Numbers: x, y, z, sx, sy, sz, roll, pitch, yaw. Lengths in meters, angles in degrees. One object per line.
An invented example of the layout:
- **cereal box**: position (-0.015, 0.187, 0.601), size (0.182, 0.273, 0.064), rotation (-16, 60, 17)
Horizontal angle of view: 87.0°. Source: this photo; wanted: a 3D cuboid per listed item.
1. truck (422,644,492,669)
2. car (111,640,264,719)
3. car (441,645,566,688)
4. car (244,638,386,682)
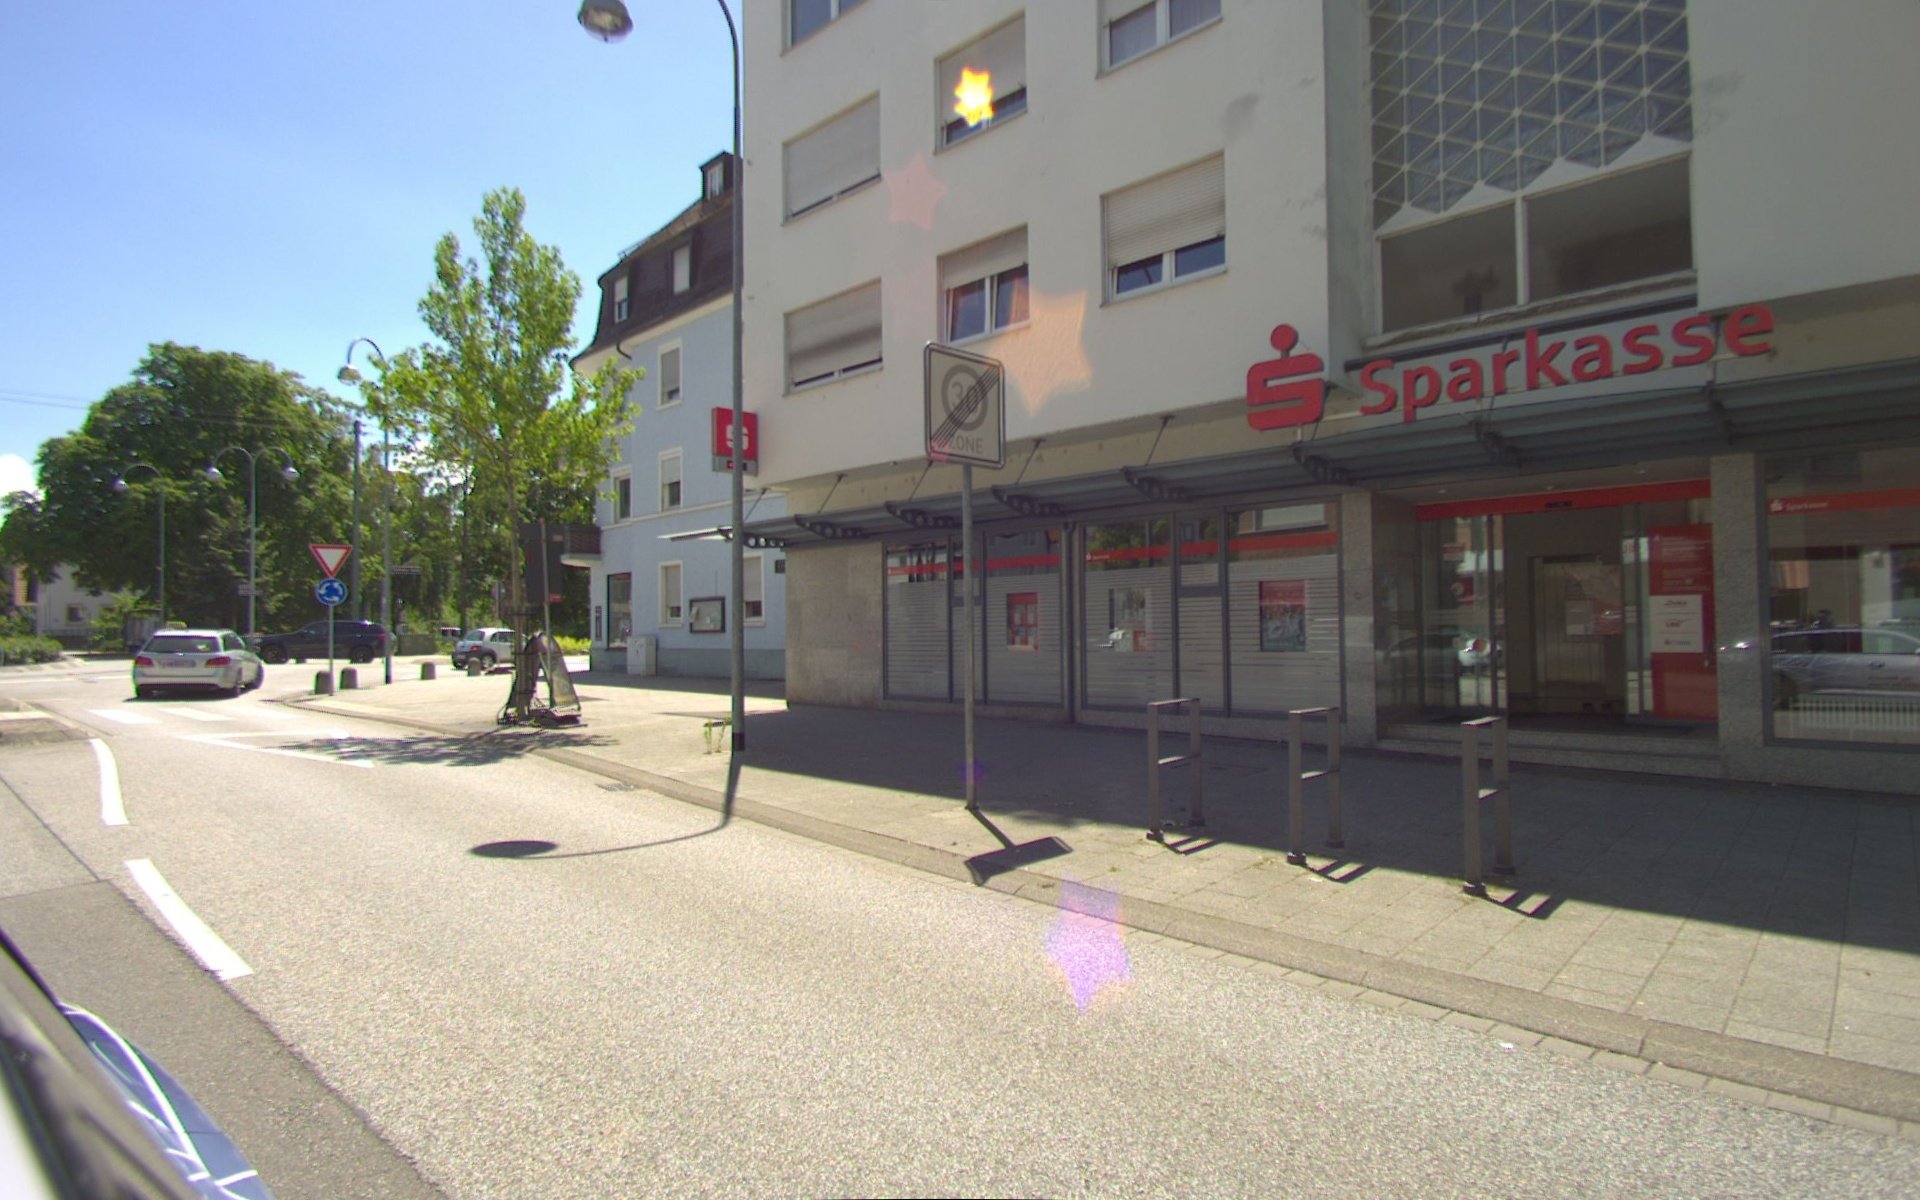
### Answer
- **truck**: position (-51.808, 5.829, 104.371), size (6.113, 2.462, 2.271), rotation (0, -4, -15)
- **car**: position (-17.524, 1.752, 23.228), size (1.965, 1.605, 5.014), rotation (3, -4, -28)
- **car**: position (-16.322, 2.342, 36.336), size (1.702, 1.469, 3.743), rotation (-2, -3, 36)
- **car**: position (-25.164, 2.344, 39.715), size (4.539, 1.597, 1.954), rotation (1, -5, -29)
